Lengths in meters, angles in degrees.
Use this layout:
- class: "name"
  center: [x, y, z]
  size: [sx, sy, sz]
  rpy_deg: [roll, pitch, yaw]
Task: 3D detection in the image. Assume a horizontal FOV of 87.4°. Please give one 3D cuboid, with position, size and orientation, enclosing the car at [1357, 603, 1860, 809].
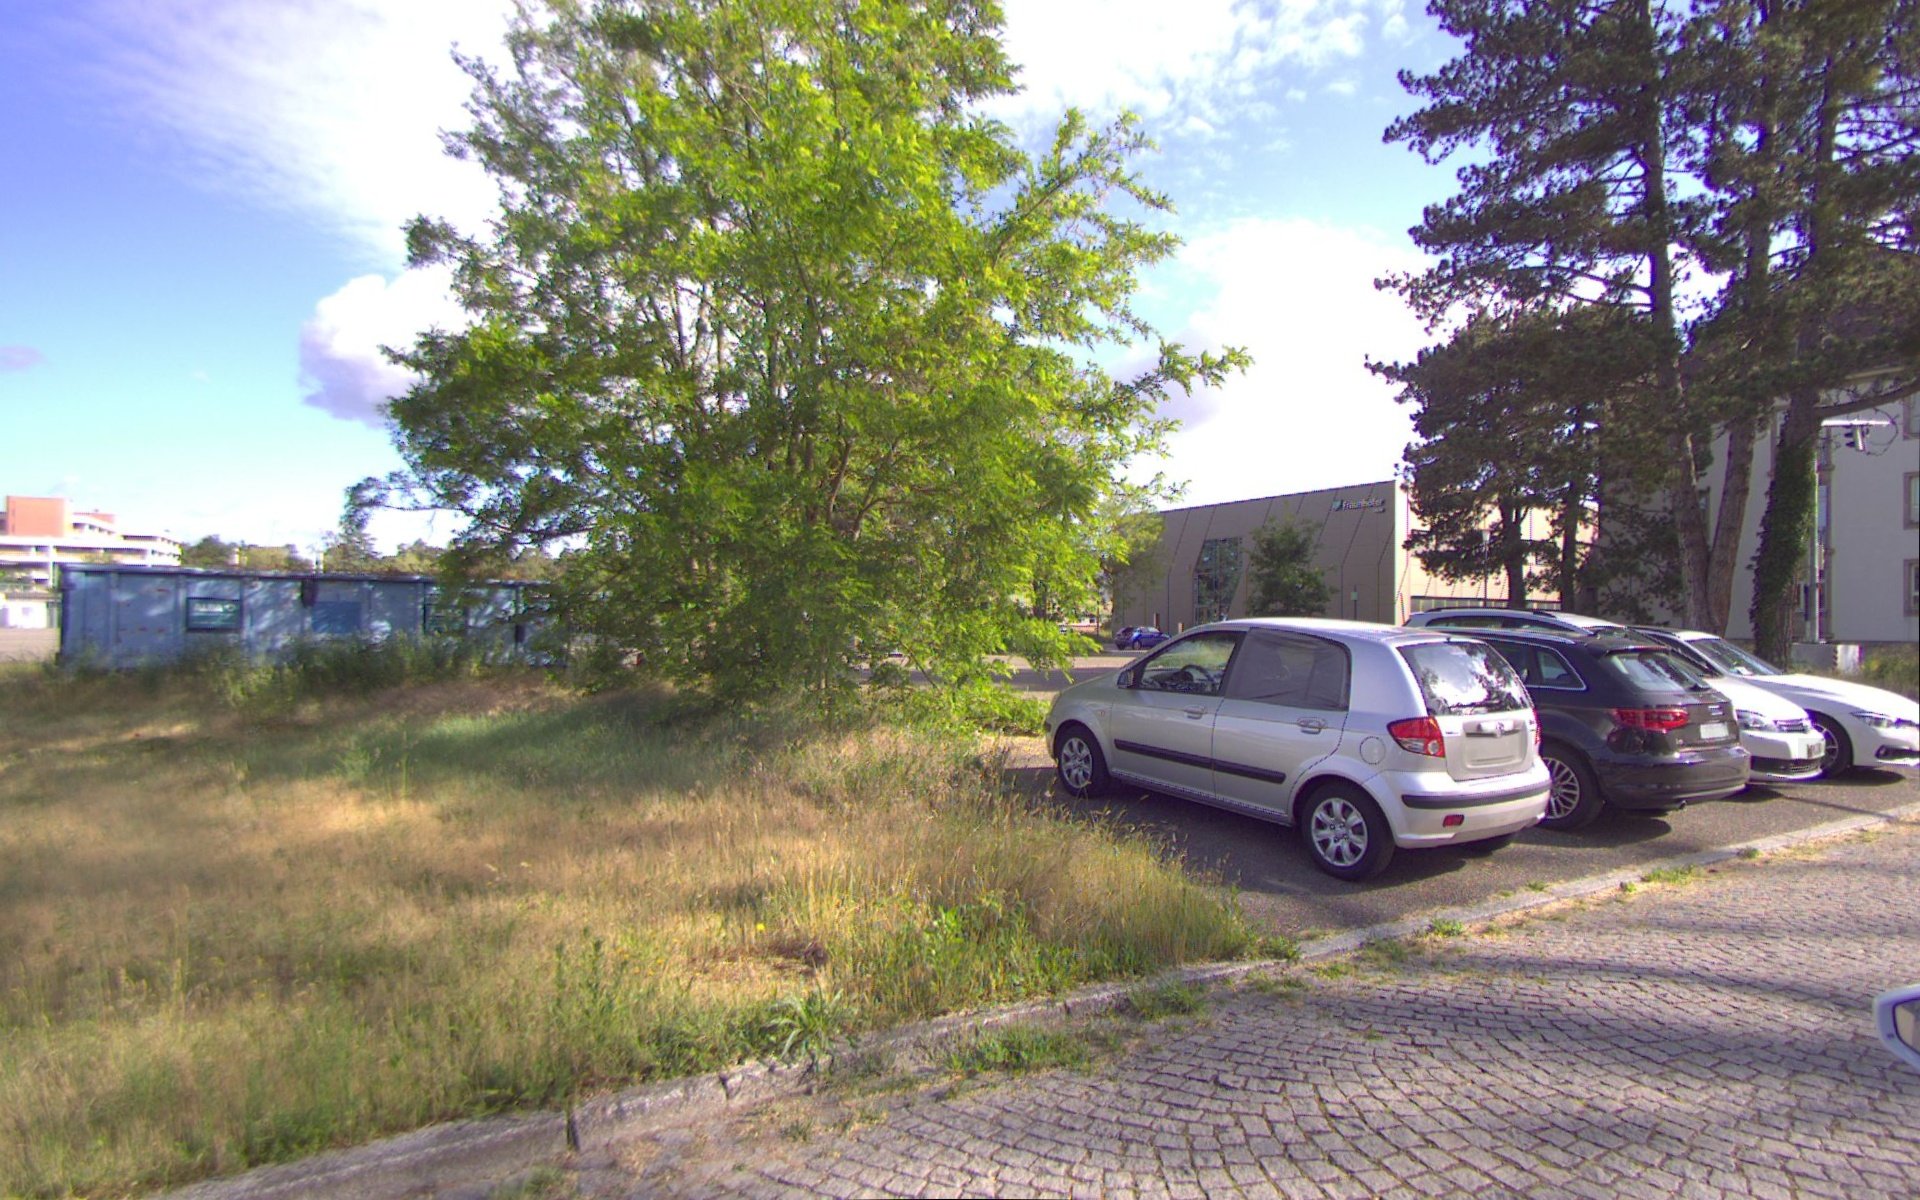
- class: "car"
  center: [6.572, 0.904, 10.643]
  size: [1.865, 1.614, 4.056]
  rpy_deg: [1, 1, -33]

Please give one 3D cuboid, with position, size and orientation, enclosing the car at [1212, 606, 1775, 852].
- class: "car"
  center: [4.332, 0.872, 8.778]
  size: [1.784, 1.500, 3.963]
  rpy_deg: [1, 1, -33]

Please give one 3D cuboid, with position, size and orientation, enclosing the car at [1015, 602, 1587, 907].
- class: "car"
  center: [2.164, 0.829, 7.314]
  size: [1.628, 1.507, 3.724]
  rpy_deg: [1, 1, -33]

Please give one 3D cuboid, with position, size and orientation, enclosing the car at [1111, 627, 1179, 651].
- class: "car"
  center: [11.633, 2.438, 63.092]
  size: [3.953, 1.452, 1.893]
  rpy_deg: [2, -2, -30]

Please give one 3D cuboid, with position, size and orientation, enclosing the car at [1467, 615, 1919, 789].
- class: "car"
  center: [8.599, 1.012, 11.892]
  size: [1.811, 1.488, 4.307]
  rpy_deg: [1, 1, -33]
